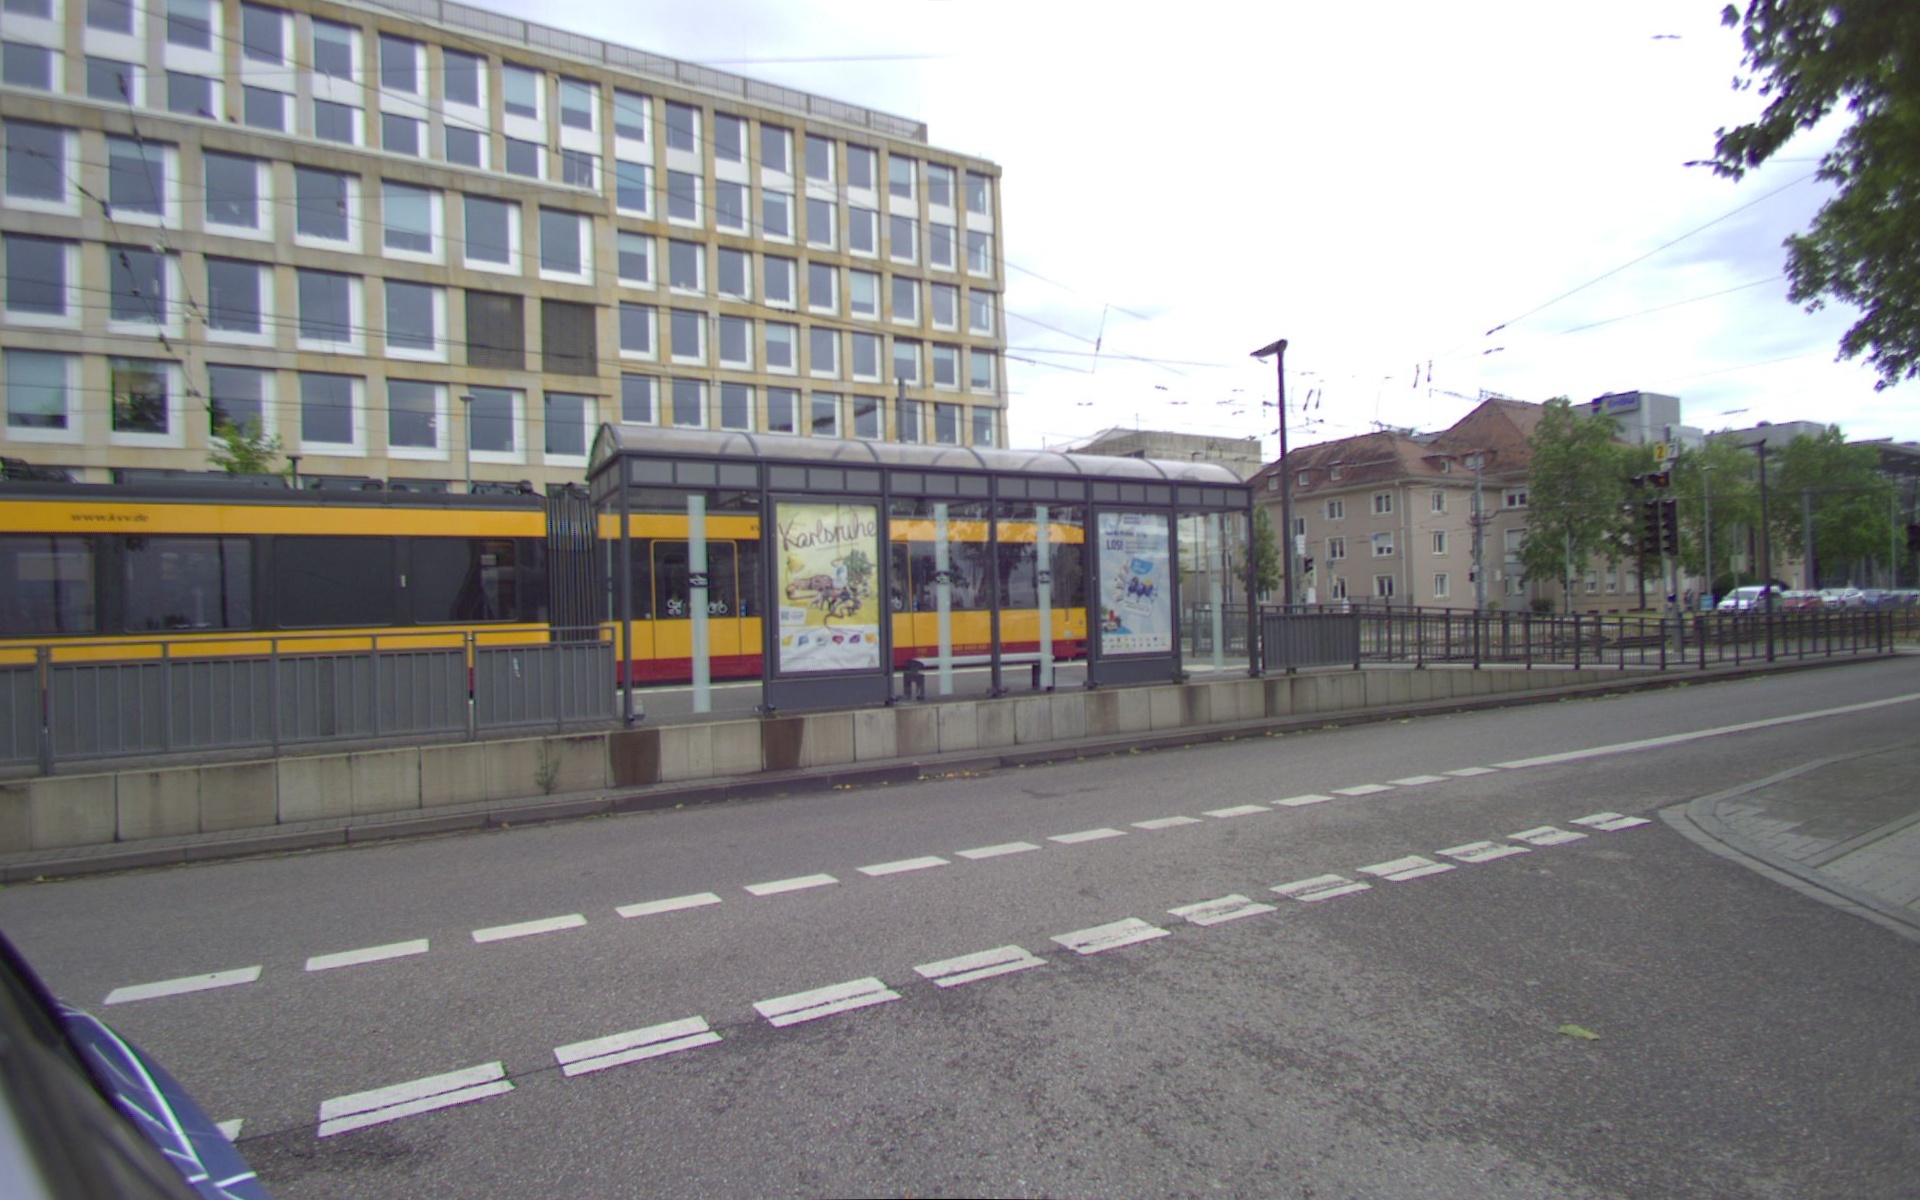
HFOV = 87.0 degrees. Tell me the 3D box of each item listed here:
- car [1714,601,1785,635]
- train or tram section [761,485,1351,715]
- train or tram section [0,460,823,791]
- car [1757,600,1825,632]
[{"bbox_3d":[44.361,0.990,56.851,3.933,1.807,2.005,0,-2,-34],"label":"car"},{"bbox_3d":[2.889,-0.004,23.626,14.482,4.211,3.200,-1,-2,-30],"label":"train or tram section"},{"bbox_3d":[-9.608,0.351,16.264,14.482,4.211,3.200,-1,-2,-30],"label":"train or tram section"},{"bbox_3d":[49.197,0.949,59.914,3.933,1.807,2.005,0,-2,-34],"label":"car"}]
